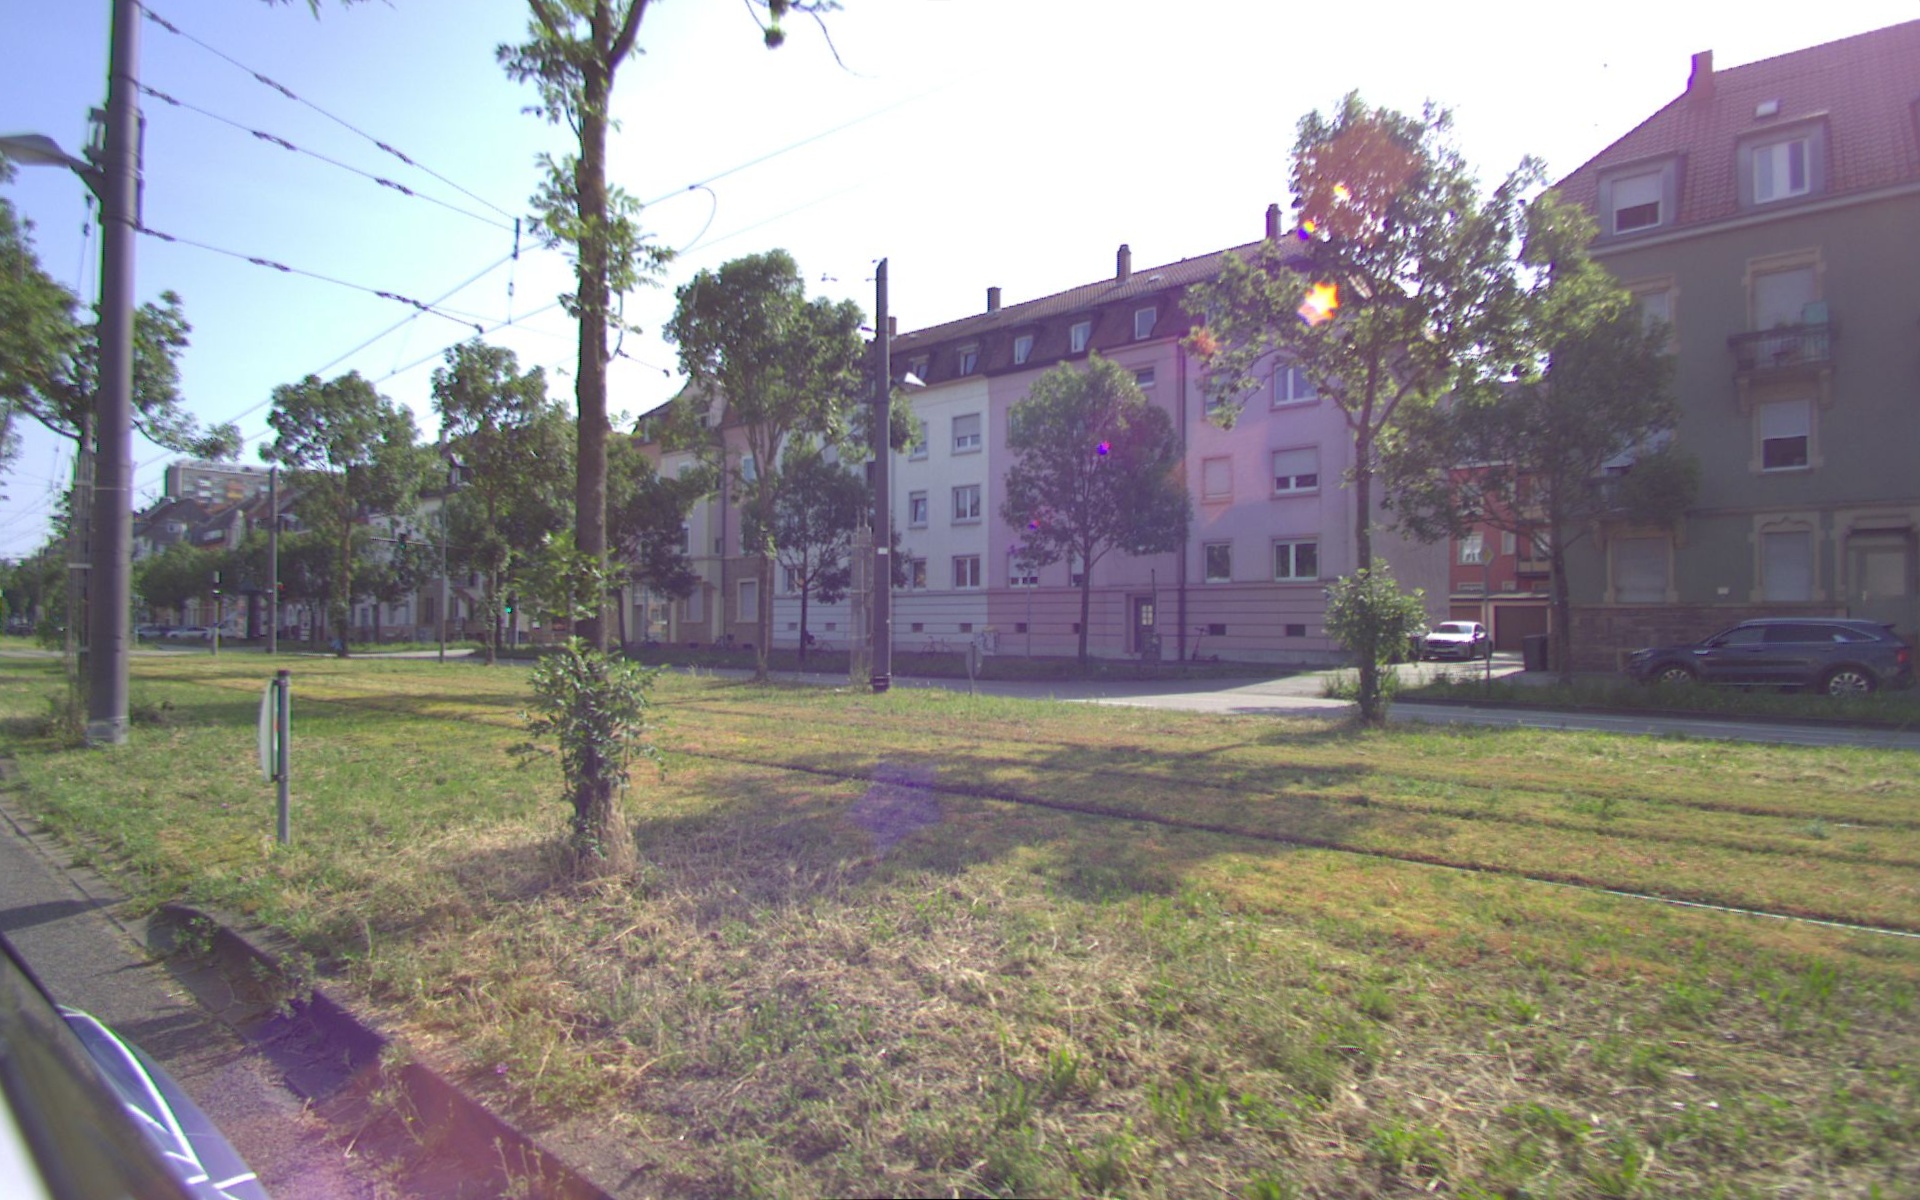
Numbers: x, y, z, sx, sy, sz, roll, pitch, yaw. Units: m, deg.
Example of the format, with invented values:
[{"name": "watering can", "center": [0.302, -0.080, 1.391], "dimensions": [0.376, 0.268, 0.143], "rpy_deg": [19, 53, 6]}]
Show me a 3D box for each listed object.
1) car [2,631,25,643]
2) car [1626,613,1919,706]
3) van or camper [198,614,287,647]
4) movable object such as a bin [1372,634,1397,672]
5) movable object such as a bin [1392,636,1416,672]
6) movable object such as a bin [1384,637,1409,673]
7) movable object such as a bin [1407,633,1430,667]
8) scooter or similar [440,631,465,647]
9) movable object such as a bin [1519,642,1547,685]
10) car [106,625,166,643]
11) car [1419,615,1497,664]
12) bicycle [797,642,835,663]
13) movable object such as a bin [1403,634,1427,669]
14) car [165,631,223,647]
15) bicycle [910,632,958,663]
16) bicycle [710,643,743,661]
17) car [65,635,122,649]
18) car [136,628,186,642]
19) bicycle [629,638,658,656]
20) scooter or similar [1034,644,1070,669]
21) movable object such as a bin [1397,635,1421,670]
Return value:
[{"name": "car", "center": [-125.001, 4.822, 133.666], "dimensions": [3.923, 1.444, 1.794], "rpy_deg": [-1, 1, 40]}, {"name": "car", "center": [16.632, 1.143, 20.766], "dimensions": [4.770, 1.640, 1.974], "rpy_deg": [-1, 0, 39]}, {"name": "van or camper", "center": [-61.819, 2.589, 87.337], "dimensions": [5.826, 2.593, 2.205], "rpy_deg": [-1, 0, -15]}, {"name": "movable object such as a bin", "center": [14.221, 1.777, 33.911], "dimensions": [0.640, 1.220, 0.579], "rpy_deg": [-1, 1, 39]}, {"name": "movable object such as a bin", "center": [15.559, 1.873, 35.472], "dimensions": [0.640, 1.220, 0.579], "rpy_deg": [-1, 1, 39]}, {"name": "movable object such as a bin", "center": [15.049, 1.889, 34.918], "dimensions": [0.640, 1.220, 0.579], "rpy_deg": [-1, 1, 39]}, {"name": "movable object such as a bin", "center": [16.843, 1.828, 37.152], "dimensions": [0.640, 1.220, 0.579], "rpy_deg": [-1, 1, 39]}, {"name": "scooter or similar", "center": [-35.134, 2.691, 70.081], "dimensions": [1.477, 1.077, 0.737], "rpy_deg": [-1, 0, 20]}, {"name": "movable object such as a bin", "center": [17.142, 1.893, 30.287], "dimensions": [0.640, 1.220, 0.579], "rpy_deg": [-1, 1, 39]}, {"name": "car", "center": [-92.114, 3.791, 113.196], "dimensions": [4.869, 1.739, 1.862], "rpy_deg": [-1, 1, -15]}, {"name": "car", "center": [19.151, 1.473, 38.822], "dimensions": [1.824, 1.640, 4.236], "rpy_deg": [-1, 0, 39]}, {"name": "bicycle", "center": [-6.318, 2.295, 44.392], "dimensions": [1.946, 0.863, 0.443], "rpy_deg": [-1, 1, 40]}, {"name": "movable object such as a bin", "center": [16.471, 1.842, 36.614], "dimensions": [0.640, 1.220, 0.579], "rpy_deg": [-1, 1, 39]}, {"name": "car", "center": [-72.310, 3.660, 95.579], "dimensions": [3.947, 1.326, 1.667], "rpy_deg": [-1, 1, -15]}, {"name": "bicycle", "center": [-1.026, 1.863, 39.734], "dimensions": [1.946, 1.136, 0.598], "rpy_deg": [-1, 1, 40]}, {"name": "bicycle", "center": [-11.312, 2.491, 49.009], "dimensions": [1.946, 0.795, 0.433], "rpy_deg": [-1, 1, 40]}, {"name": "car", "center": [-102.844, 4.988, 120.203], "dimensions": [4.696, 1.496, 2.029], "rpy_deg": [-1, 1, -17]}, {"name": "car", "center": [-82.052, 3.632, 103.999], "dimensions": [3.625, 1.251, 1.667], "rpy_deg": [-1, 1, -15]}, {"name": "bicycle", "center": [-16.805, 2.508, 53.766], "dimensions": [1.946, 0.895, 0.463], "rpy_deg": [-1, 1, 40]}, {"name": "scooter or similar", "center": [3.239, 1.987, 35.690], "dimensions": [0.596, 0.819, 1.223], "rpy_deg": [-2, 1, -39]}, {"name": "movable object such as a bin", "center": [15.967, 1.859, 35.988], "dimensions": [0.640, 1.220, 0.579], "rpy_deg": [-1, 1, 39]}]
